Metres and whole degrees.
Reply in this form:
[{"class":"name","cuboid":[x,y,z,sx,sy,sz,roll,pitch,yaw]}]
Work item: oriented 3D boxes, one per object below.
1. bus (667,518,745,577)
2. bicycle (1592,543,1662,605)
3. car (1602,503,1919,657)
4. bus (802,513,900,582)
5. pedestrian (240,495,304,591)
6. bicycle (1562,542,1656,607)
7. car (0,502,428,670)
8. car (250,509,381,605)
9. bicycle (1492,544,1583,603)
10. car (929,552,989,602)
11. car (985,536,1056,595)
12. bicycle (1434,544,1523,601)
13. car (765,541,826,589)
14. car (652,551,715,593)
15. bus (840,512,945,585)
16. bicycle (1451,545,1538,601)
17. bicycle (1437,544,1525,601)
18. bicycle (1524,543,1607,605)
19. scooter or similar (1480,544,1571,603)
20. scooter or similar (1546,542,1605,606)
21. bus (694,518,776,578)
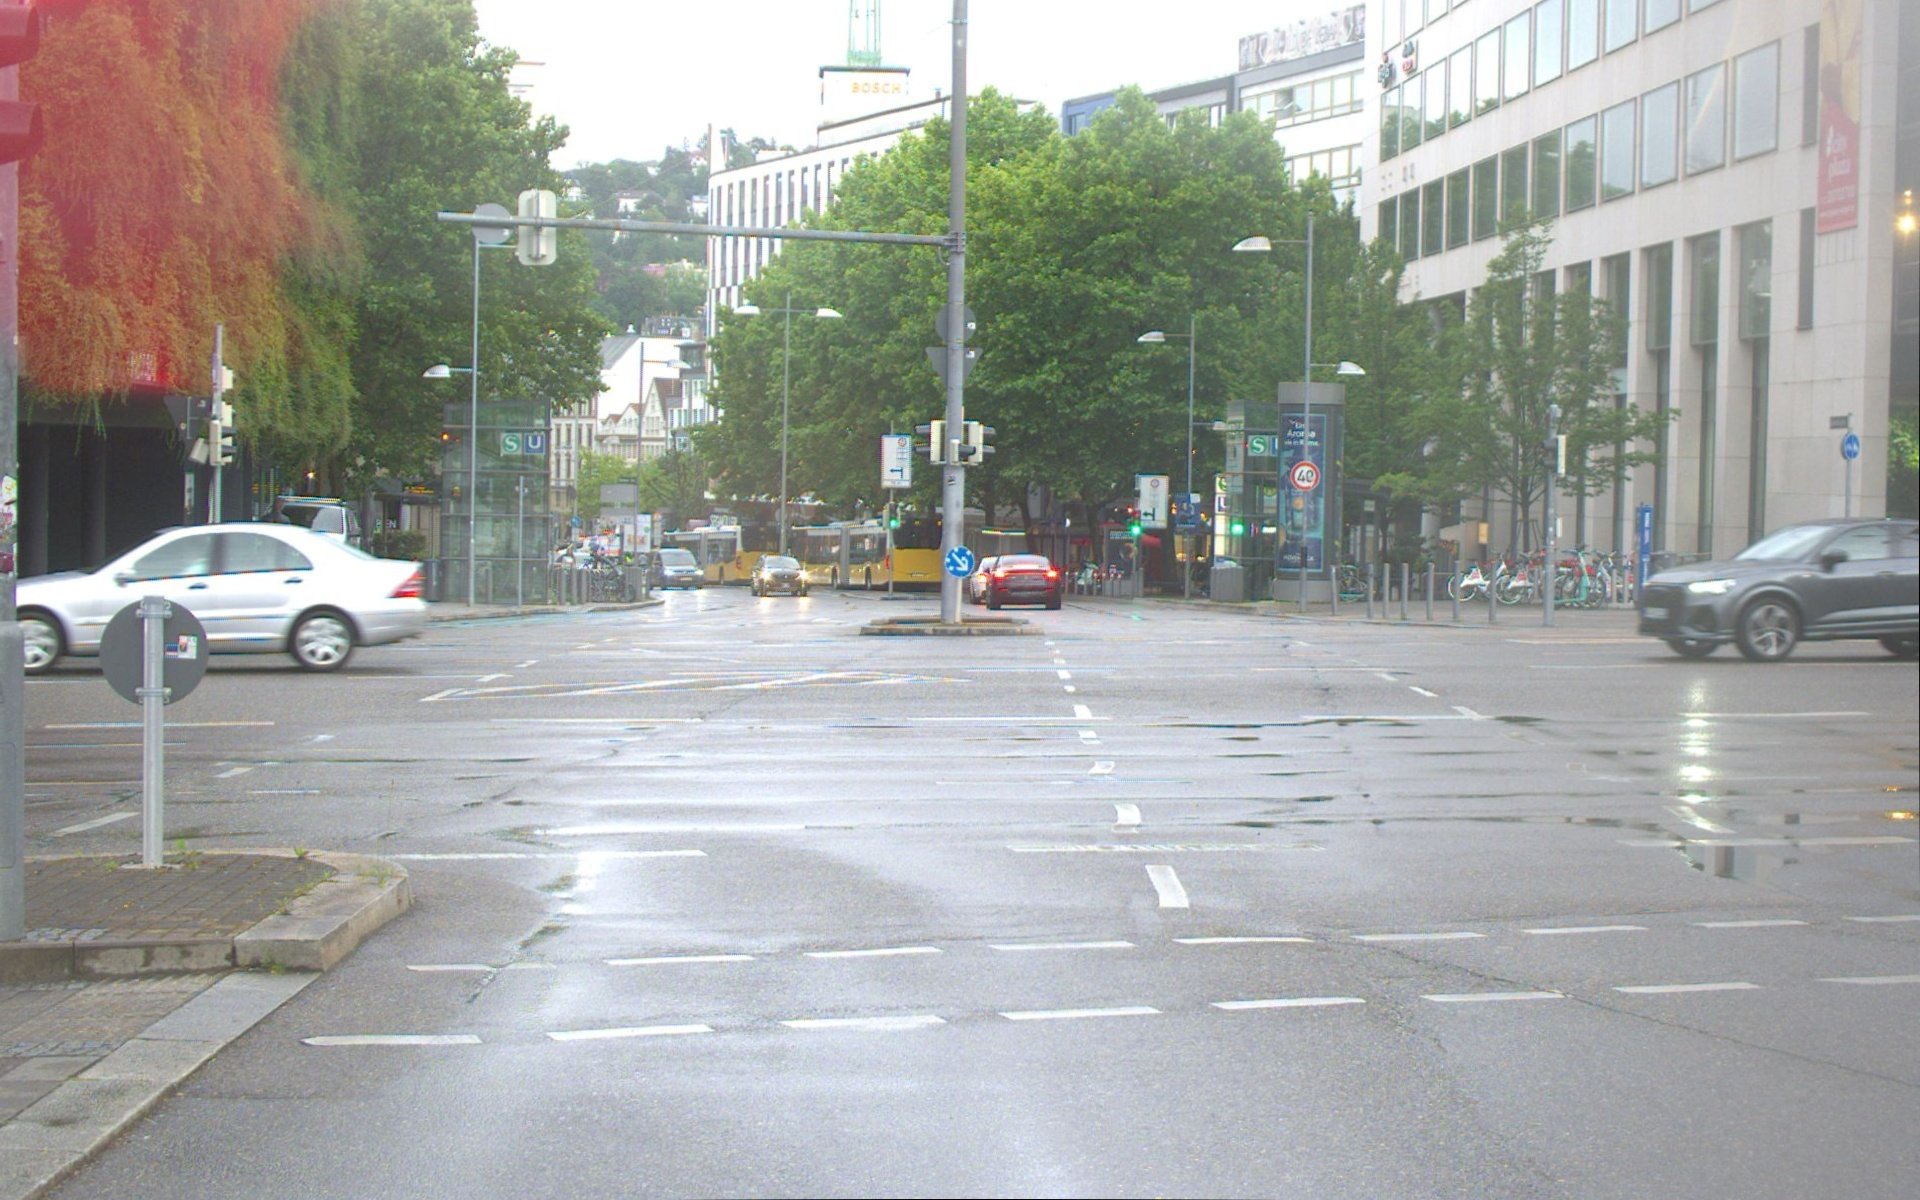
[{"class":"bus","cuboid":[-13.377,-2.780,180.325,2.627,2.985,7.451,0,1,-16]},{"class":"bicycle","cuboid":[12.994,-0.495,66.950,0.586,1.190,1.779,1,1,38]},{"class":"car","cuboid":[9.491,-0.212,37.650,4.473,1.603,1.832,1,1,-16]},{"class":"bus","cuboid":[-4.919,-2.353,153.083,2.627,2.985,7.451,0,1,-16]},{"class":"pedestrian","cuboid":[-11.868,-0.982,59.336,0.933,1.638,0.774,1,0,-1]},{"class":"bicycle","cuboid":[12.234,-0.485,64.840,1.624,1.190,0.586,1,0,26]},{"class":"car","cuboid":[-7.635,-0.166,33.277,4.717,1.472,2.001,0,4,-15]},{"class":"car","cuboid":[-12.779,-0.846,68.326,1.870,1.833,4.000,1,1,-1]},{"class":"bicycle","cuboid":[12.022,-0.555,71.602,1.777,1.190,0.586,1,0,2]},{"class":"car","cuboid":[-0.046,-0.728,106.698,1.781,1.503,4.000,1,1,-1]},{"class":"car","cuboid":[1.602,-0.919,92.013,1.781,1.503,4.000,1,1,-1]},{"class":"bicycle","cuboid":[10.975,-0.582,72.771,1.777,1.190,0.586,1,0,2]},{"class":"car","cuboid":[-6.081,-1.292,126.827,2.164,1.759,5.113,0,1,-4]},{"class":"car","cuboid":[-11.815,-1.202,146.755,2.163,1.759,4.832,-1,1,-11]},{"class":"bus","cuboid":[-2.905,-2.213,145.937,2.627,2.985,7.451,0,1,-16]},{"class":"bicycle","cuboid":[11.551,-0.589,74.323,1.777,1.190,0.586,1,0,2]},{"class":"bicycle","cuboid":[11.123,-0.586,73.406,1.777,1.190,0.586,1,0,2]},{"class":"bicycle","cuboid":[11.691,-0.508,66.392,0.584,1.190,1.784,1,1,-28]},{"class":"scooter or similar","cuboid":[11.668,-0.554,70.980,1.777,1.190,0.586,1,0,2]},{"class":"scooter or similar","cuboid":[11.480,-0.489,64.156,0.963,1.190,0.454,1,1,40]},{"class":"bus","cuboid":[-11.362,-2.646,173.229,2.627,2.985,7.330,0,1,-16]}]
